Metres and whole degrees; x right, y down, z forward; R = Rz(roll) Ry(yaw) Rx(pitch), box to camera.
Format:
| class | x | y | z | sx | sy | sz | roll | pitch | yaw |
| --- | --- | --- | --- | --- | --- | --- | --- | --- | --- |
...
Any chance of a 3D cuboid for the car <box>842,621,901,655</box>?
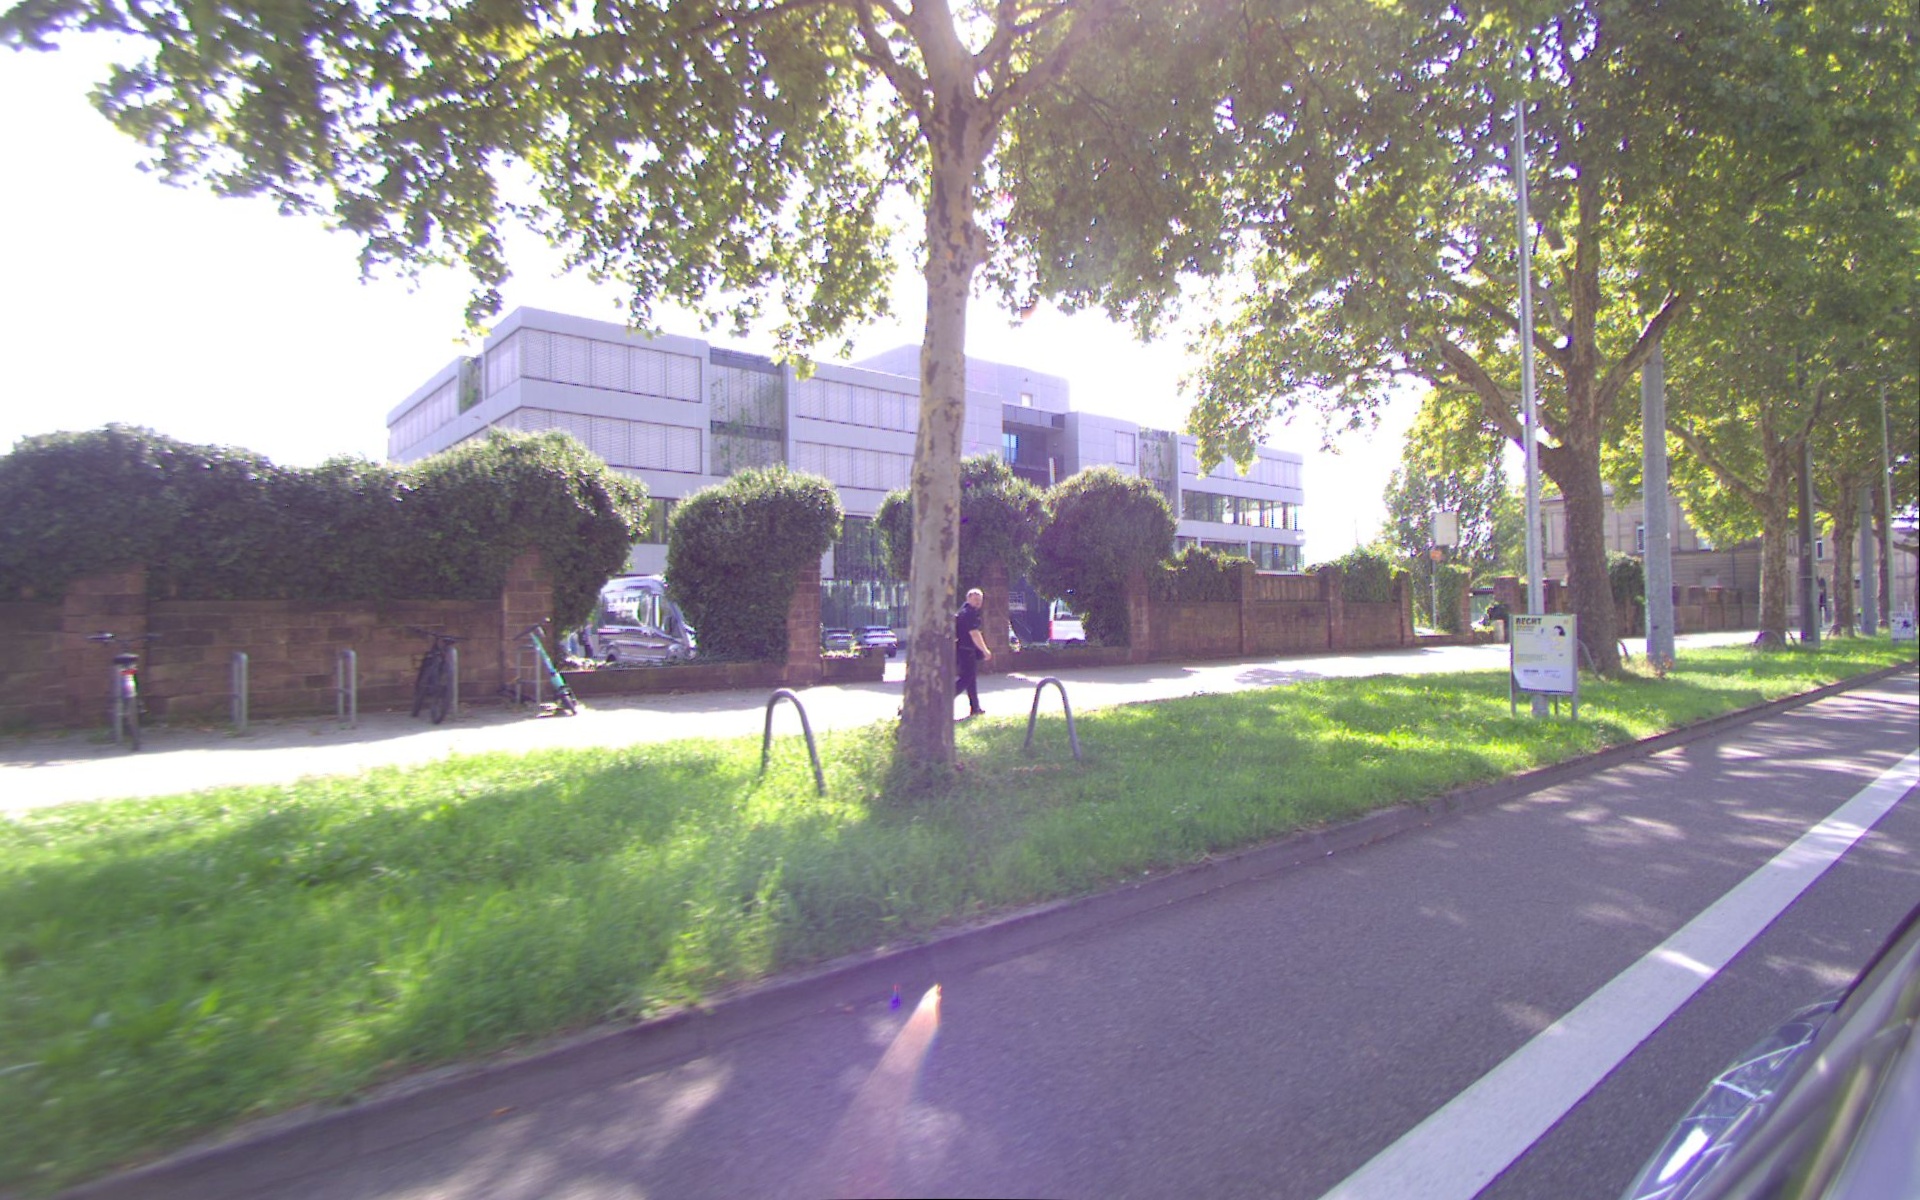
| class | x | y | z | sx | sy | sz | roll | pitch | yaw |
| --- | --- | --- | --- | --- | --- | --- | --- | --- | --- |
| car | -4.506 | 1.885 | 50.998 | 1.785 | 1.524 | 3.981 | 0 | 0 | -24 |

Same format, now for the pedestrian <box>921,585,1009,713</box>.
| class | x | y | z | sx | sy | sz | roll | pitch | yaw |
| --- | --- | --- | --- | --- | --- | --- | --- | --- | --- |
| pedestrian | 0.057 | 0.591 | 12.627 | 0.773 | 1.534 | 0.785 | 1 | -2 | -41 |

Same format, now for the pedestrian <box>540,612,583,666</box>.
| class | x | y | z | sx | sy | sz | roll | pitch | yaw |
| --- | --- | --- | --- | --- | --- | --- | --- | --- | --- |
| pedestrian | -15.442 | 1.497 | 39.194 | 1.334 | 2.039 | 0.940 | 0 | -1 | -41 |

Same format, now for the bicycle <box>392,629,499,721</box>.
| class | x | y | z | sx | sy | sz | roll | pitch | yaw |
| --- | --- | --- | --- | --- | --- | --- | --- | --- | --- |
| bicycle | -6.312 | 0.869 | 12.362 | 0.722 | 1.019 | 1.869 | 0 | -1 | -42 |

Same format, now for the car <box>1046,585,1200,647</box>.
| class | x | y | z | sx | sy | sz | roll | pitch | yaw |
| --- | --- | --- | --- | --- | --- | --- | --- | --- | --- |
| car | 4.923 | 0.485 | 31.120 | 1.877 | 1.756 | 4.527 | 0 | -1 | -42 |

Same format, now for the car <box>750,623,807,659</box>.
| class | x | y | z | sx | sy | sz | roll | pitch | yaw |
| --- | --- | --- | --- | --- | --- | --- | --- | --- | --- |
| car | -8.554 | 1.884 | 47.426 | 1.778 | 1.475 | 3.981 | 0 | 0 | -23 |

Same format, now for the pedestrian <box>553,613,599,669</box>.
| class | x | y | z | sx | sy | sz | roll | pitch | yaw |
| --- | --- | --- | --- | --- | --- | --- | --- | --- | --- |
| pedestrian | -14.611 | 1.535 | 38.501 | 1.364 | 2.039 | 1.078 | 0 | -1 | -41 |

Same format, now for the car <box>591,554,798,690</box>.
| class | x | y | z | sx | sy | sz | roll | pitch | yaw |
| --- | --- | --- | --- | --- | --- | --- | --- | --- | --- |
| car | -5.685 | 0.447 | 21.120 | 2.210 | 2.465 | 5.387 | 0 | -1 | -38 |

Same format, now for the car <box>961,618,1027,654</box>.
| class | x | y | z | sx | sy | sz | roll | pitch | yaw |
| --- | --- | --- | --- | --- | --- | --- | --- | --- | --- |
| car | 1.629 | 1.755 | 50.246 | 1.784 | 1.630 | 3.981 | 0 | 0 | -23 |

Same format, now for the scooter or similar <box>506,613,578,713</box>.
| class | x | y | z | sx | sy | sz | roll | pitch | yaw |
| --- | --- | --- | --- | --- | --- | --- | --- | --- | --- |
| scooter or similar | -5.454 | 0.782 | 13.159 | 0.528 | 1.206 | 1.510 | 0 | 0 | -36 |

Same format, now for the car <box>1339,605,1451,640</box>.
| class | x | y | z | sx | sy | sz | roll | pitch | yaw |
| --- | --- | --- | --- | --- | --- | --- | --- | --- | --- |
| car | 18.652 | 0.942 | 43.499 | 1.967 | 1.436 | 3.990 | 0 | -1 | -43 |

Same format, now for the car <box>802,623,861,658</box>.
| class | x | y | z | sx | sy | sz | roll | pitch | yaw |
| --- | --- | --- | --- | --- | --- | --- | --- | --- | --- |
| car | -6.245 | 1.904 | 48.849 | 1.778 | 1.475 | 3.981 | 0 | 0 | -24 |

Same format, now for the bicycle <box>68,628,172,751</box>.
| class | x | y | z | sx | sy | sz | roll | pitch | yaw |
| --- | --- | --- | --- | --- | --- | --- | --- | --- | --- |
| bicycle | -8.441 | 0.831 | 10.135 | 0.730 | 1.090 | 2.176 | 0 | -1 | -42 |
